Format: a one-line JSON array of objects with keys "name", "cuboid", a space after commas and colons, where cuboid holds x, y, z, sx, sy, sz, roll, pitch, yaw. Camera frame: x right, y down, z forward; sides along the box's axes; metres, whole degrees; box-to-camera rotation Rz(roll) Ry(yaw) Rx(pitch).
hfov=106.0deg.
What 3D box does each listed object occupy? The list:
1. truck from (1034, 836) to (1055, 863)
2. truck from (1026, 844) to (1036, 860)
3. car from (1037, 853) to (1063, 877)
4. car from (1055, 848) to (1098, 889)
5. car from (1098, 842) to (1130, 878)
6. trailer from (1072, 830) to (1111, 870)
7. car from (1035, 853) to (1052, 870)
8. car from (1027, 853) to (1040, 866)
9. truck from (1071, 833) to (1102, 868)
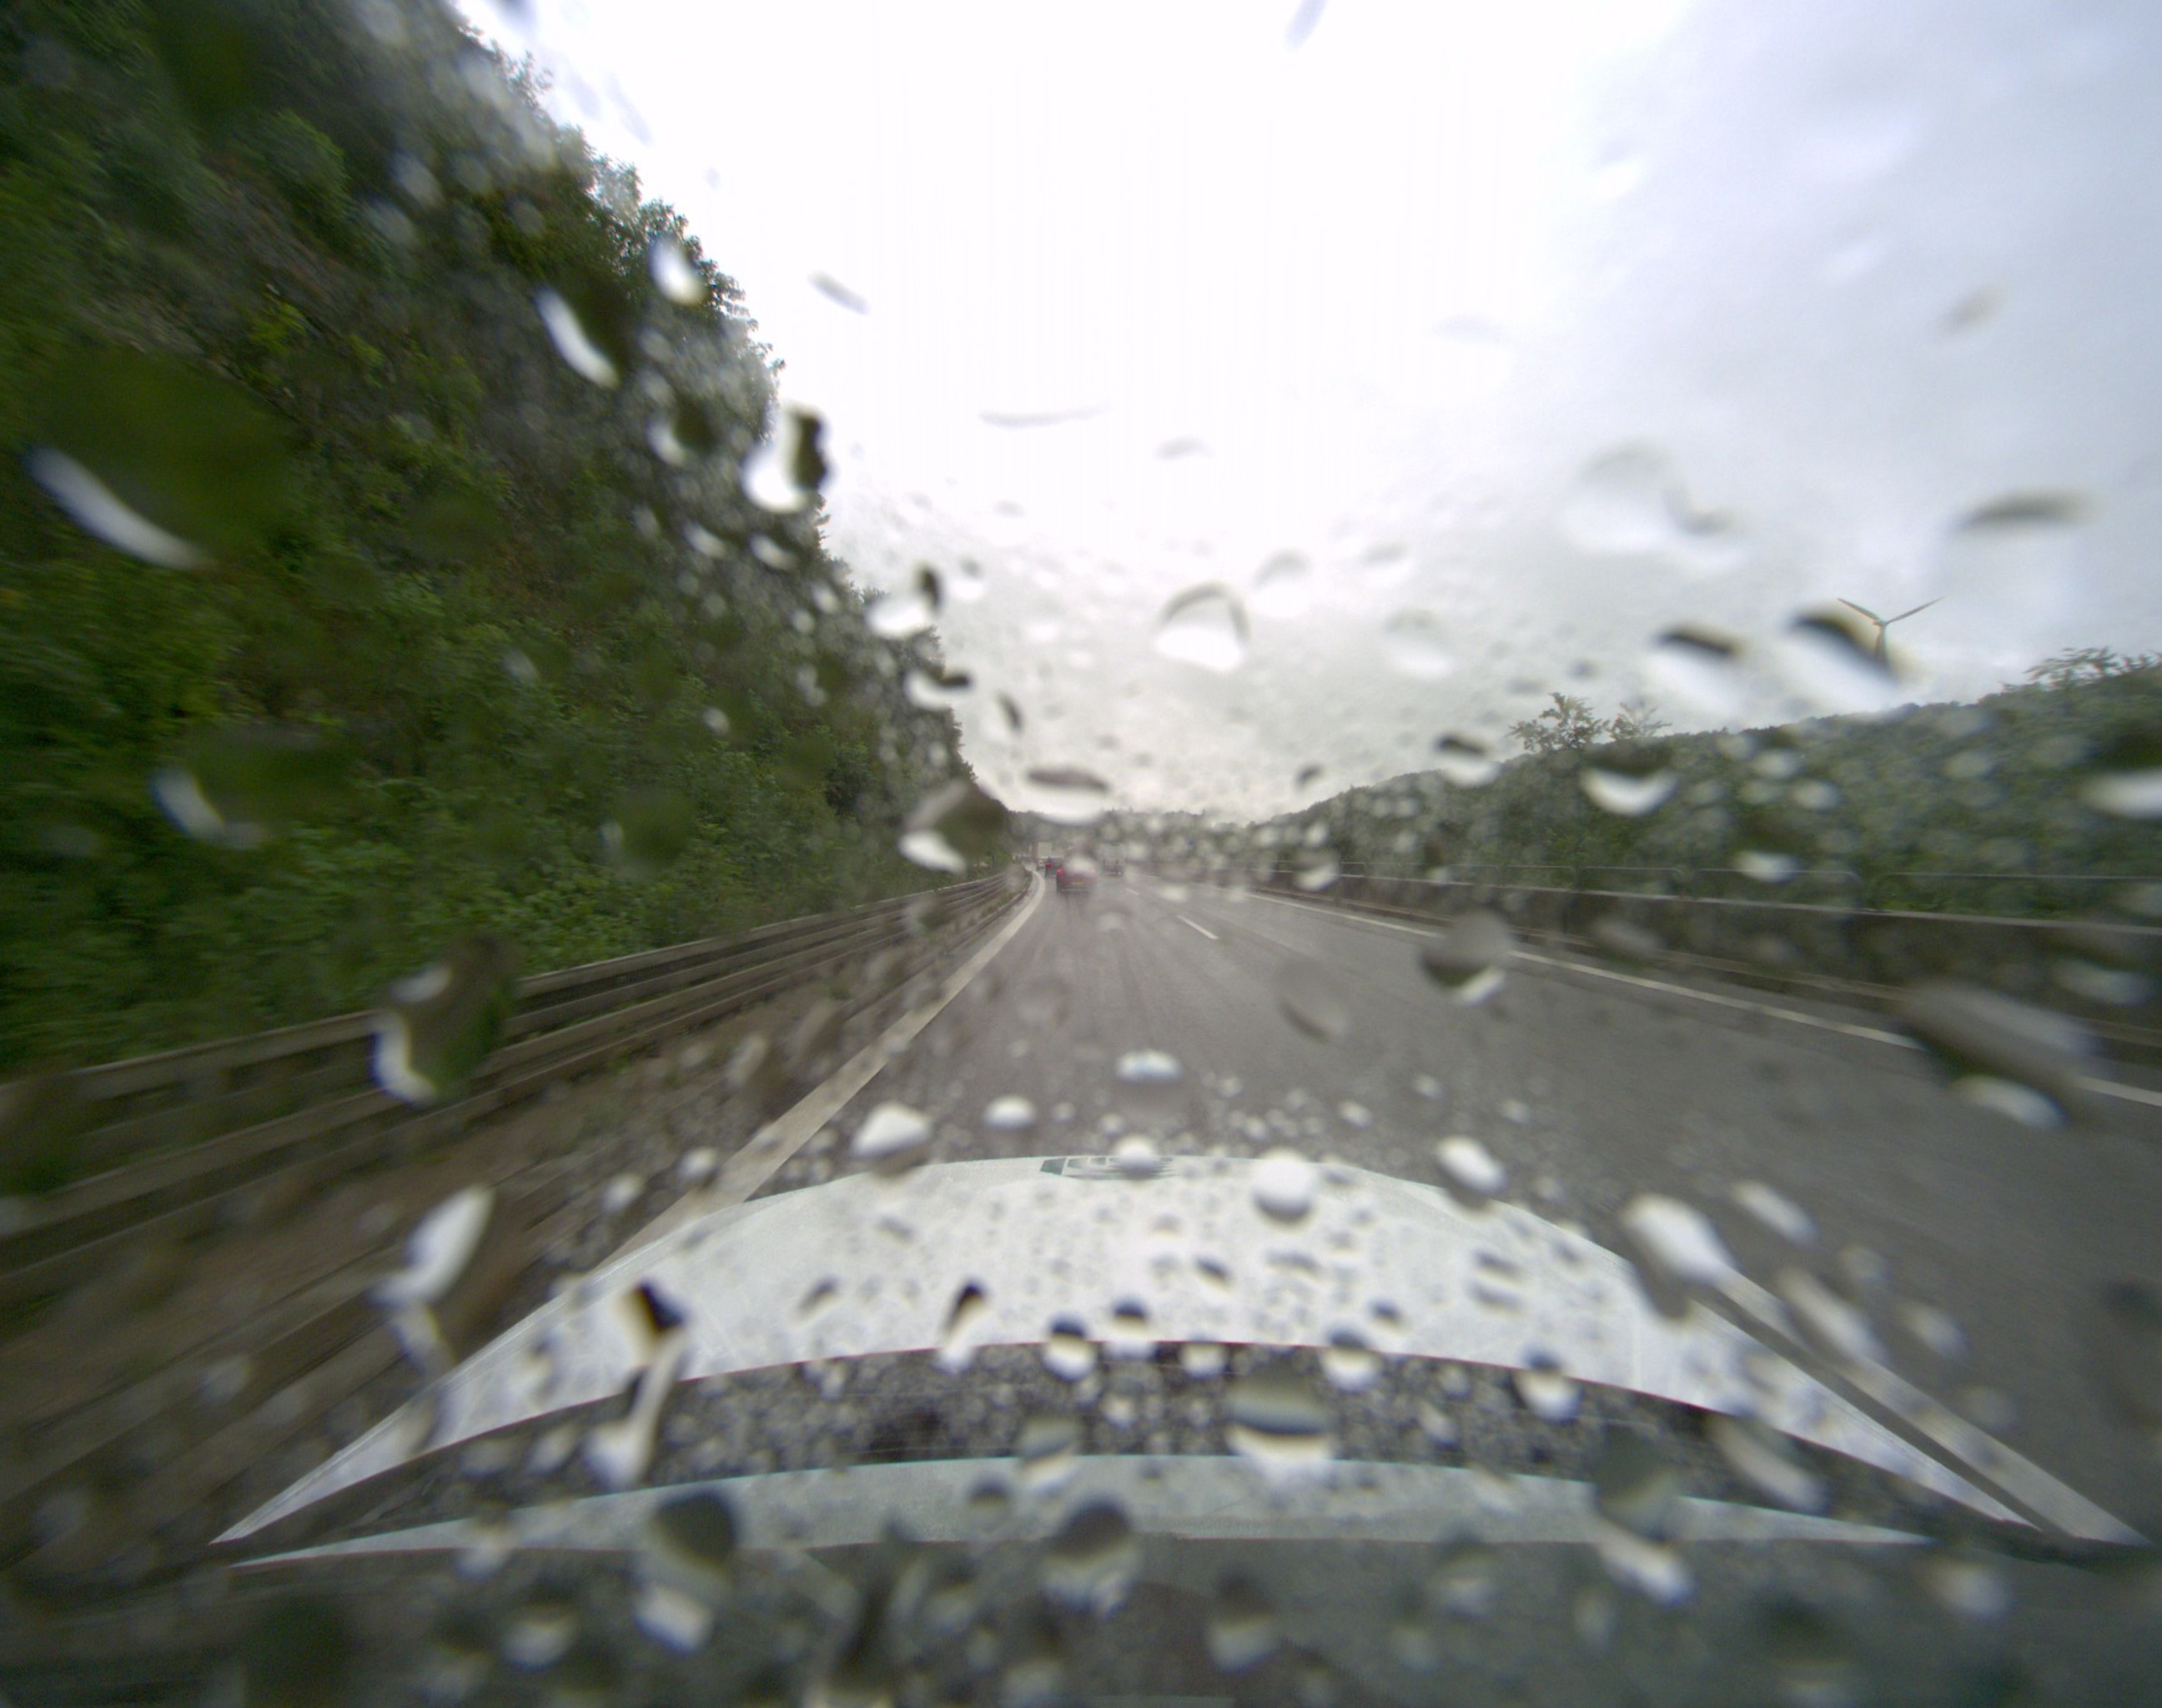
[{"name": "truck", "cuboid": [-6.524, -0.739, 146.108, 3.219, 4.682, 8.281, 0, -1, -6]}, {"name": "truck", "cuboid": [-11.295, -0.453, 182.378, 2.102, 3.420, 6.211, 0, -1, -5]}, {"name": "car", "cuboid": [-2.279, 0.830, 61.451, 1.817, 1.696, 3.999, 0, -1, 0]}, {"name": "car", "cuboid": [-0.164, 0.619, 35.624, 1.752, 1.684, 4.000, -1, -1, 0]}, {"name": "car", "cuboid": [2.716, 0.515, 68.668, 2.199, 2.794, 7.379, 3, -1, -1]}, {"name": "trailer", "cuboid": [1.010, -0.366, 90.022, 3.211, 3.999, 13.506, 2, 0, -3]}, {"name": "car", "cuboid": [-3.948, 0.785, 85.149, 1.712, 1.817, 3.887, 0, -1, -4]}, {"name": "car", "cuboid": [-7.610, 0.826, 130.889, 1.989, 2.014, 3.996, 0, -1, -2]}, {"name": "truck", "cuboid": [0.611, -0.352, 96.757, 3.213, 3.978, 5.432, 2, -1, -4]}]
